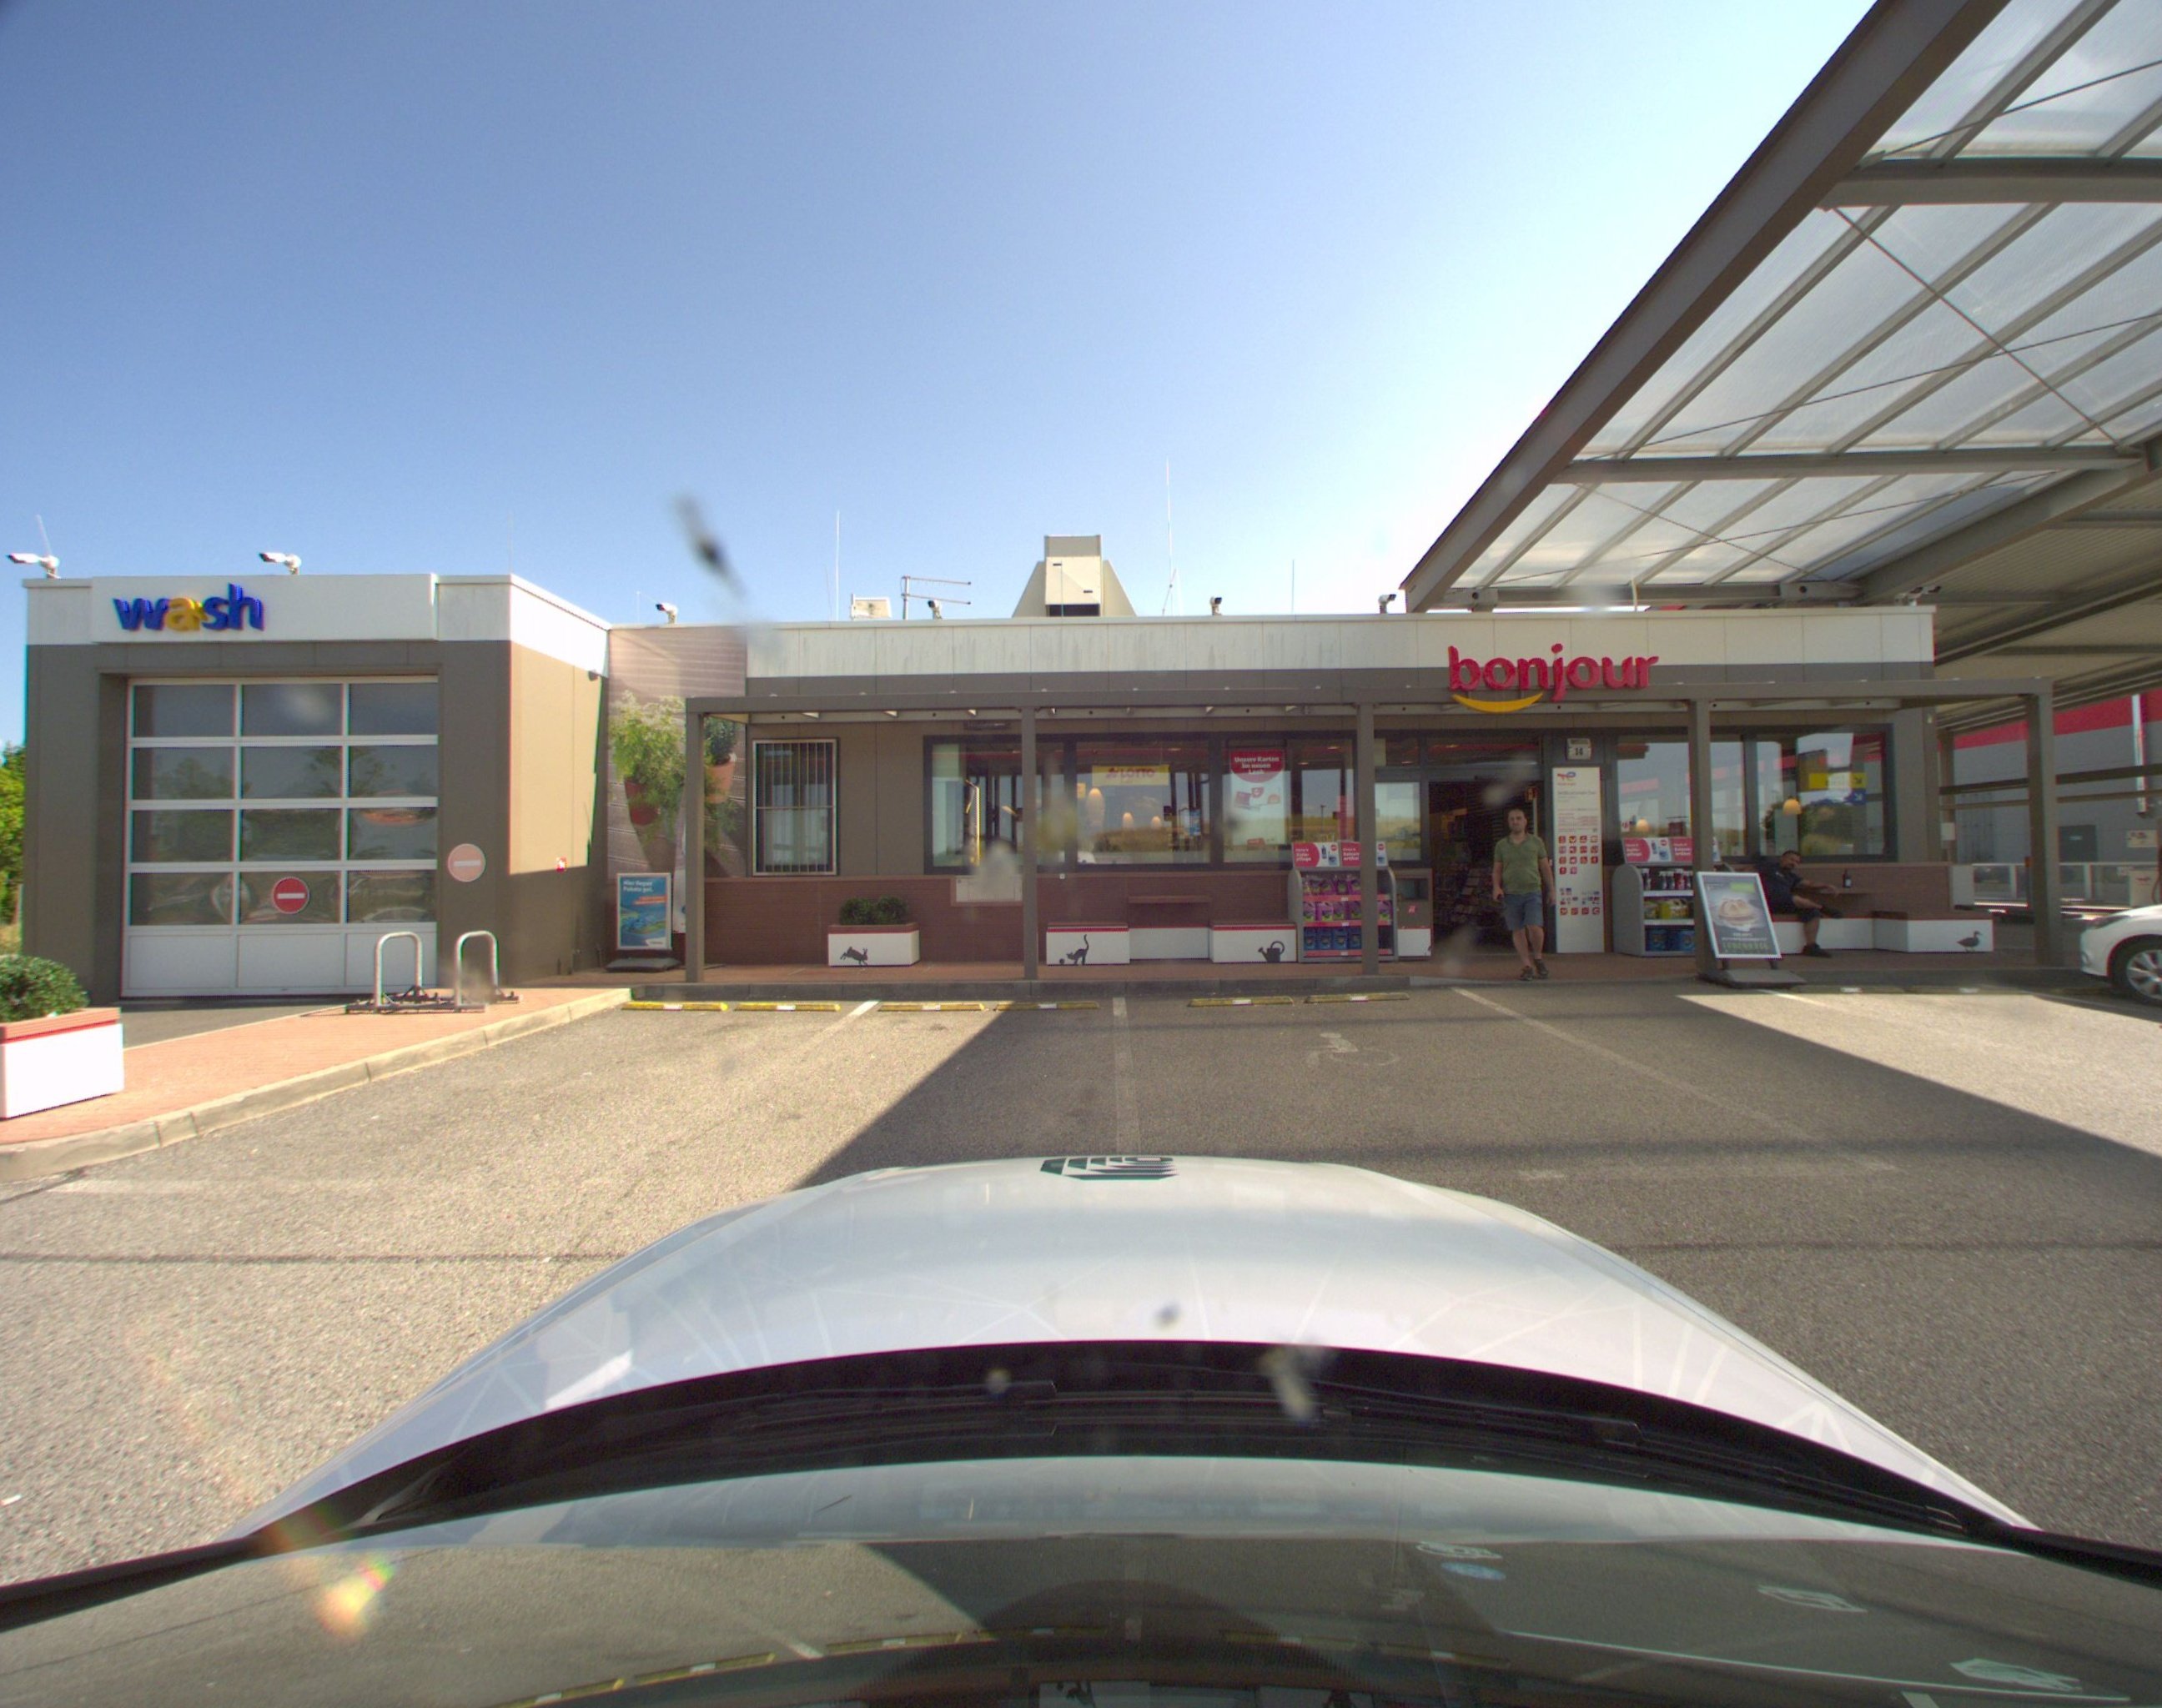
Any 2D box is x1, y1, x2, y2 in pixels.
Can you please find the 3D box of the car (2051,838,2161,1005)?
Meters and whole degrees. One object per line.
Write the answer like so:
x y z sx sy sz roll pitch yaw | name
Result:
10.398 0.560 5.741 1.827 1.457 4.313 -1 0 -5 | car

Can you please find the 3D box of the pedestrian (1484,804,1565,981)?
4.779 0.391 8.805 0.694 1.797 0.867 -1 -1 27 | pedestrian

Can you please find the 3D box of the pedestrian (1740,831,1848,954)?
8.690 0.453 9.953 0.699 1.432 0.672 -1 -1 0 | pedestrian
